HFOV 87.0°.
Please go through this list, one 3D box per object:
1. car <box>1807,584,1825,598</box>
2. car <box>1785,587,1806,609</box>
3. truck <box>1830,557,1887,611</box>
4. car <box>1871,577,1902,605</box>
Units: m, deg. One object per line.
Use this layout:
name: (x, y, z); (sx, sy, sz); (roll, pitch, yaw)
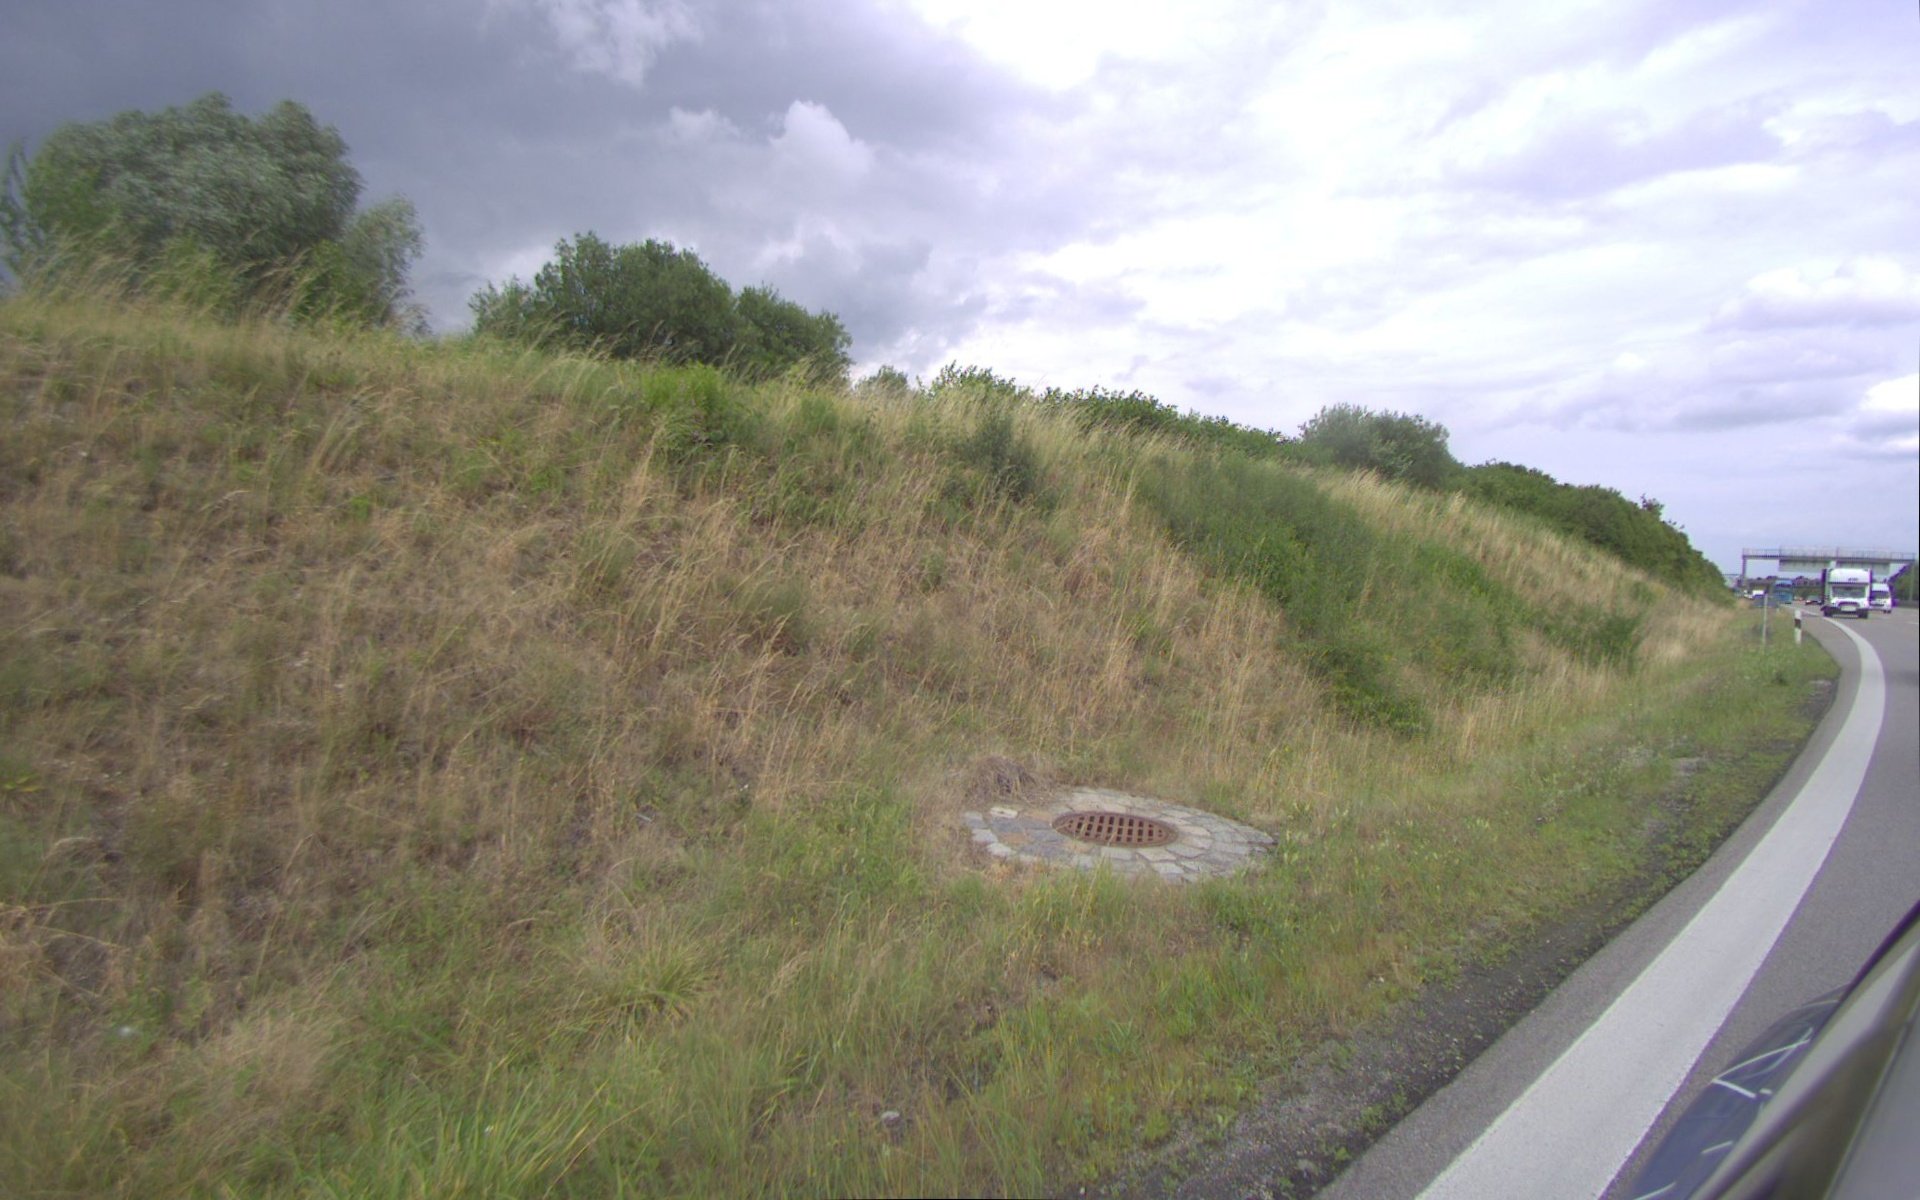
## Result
car: (129.661, -1.378, 153.344); (1.991, 2.038, 3.944); (2, 2, 39)
car: (147.403, -0.361, 178.582); (2.494, 3.757, 7.594); (2, 2, 39)
truck: (58.749, -1.056, 66.282); (2.439, 3.275, 7.089); (2, 2, 39)
car: (84.072, -0.836, 91.839); (1.992, 2.425, 3.940); (0, 1, 41)
